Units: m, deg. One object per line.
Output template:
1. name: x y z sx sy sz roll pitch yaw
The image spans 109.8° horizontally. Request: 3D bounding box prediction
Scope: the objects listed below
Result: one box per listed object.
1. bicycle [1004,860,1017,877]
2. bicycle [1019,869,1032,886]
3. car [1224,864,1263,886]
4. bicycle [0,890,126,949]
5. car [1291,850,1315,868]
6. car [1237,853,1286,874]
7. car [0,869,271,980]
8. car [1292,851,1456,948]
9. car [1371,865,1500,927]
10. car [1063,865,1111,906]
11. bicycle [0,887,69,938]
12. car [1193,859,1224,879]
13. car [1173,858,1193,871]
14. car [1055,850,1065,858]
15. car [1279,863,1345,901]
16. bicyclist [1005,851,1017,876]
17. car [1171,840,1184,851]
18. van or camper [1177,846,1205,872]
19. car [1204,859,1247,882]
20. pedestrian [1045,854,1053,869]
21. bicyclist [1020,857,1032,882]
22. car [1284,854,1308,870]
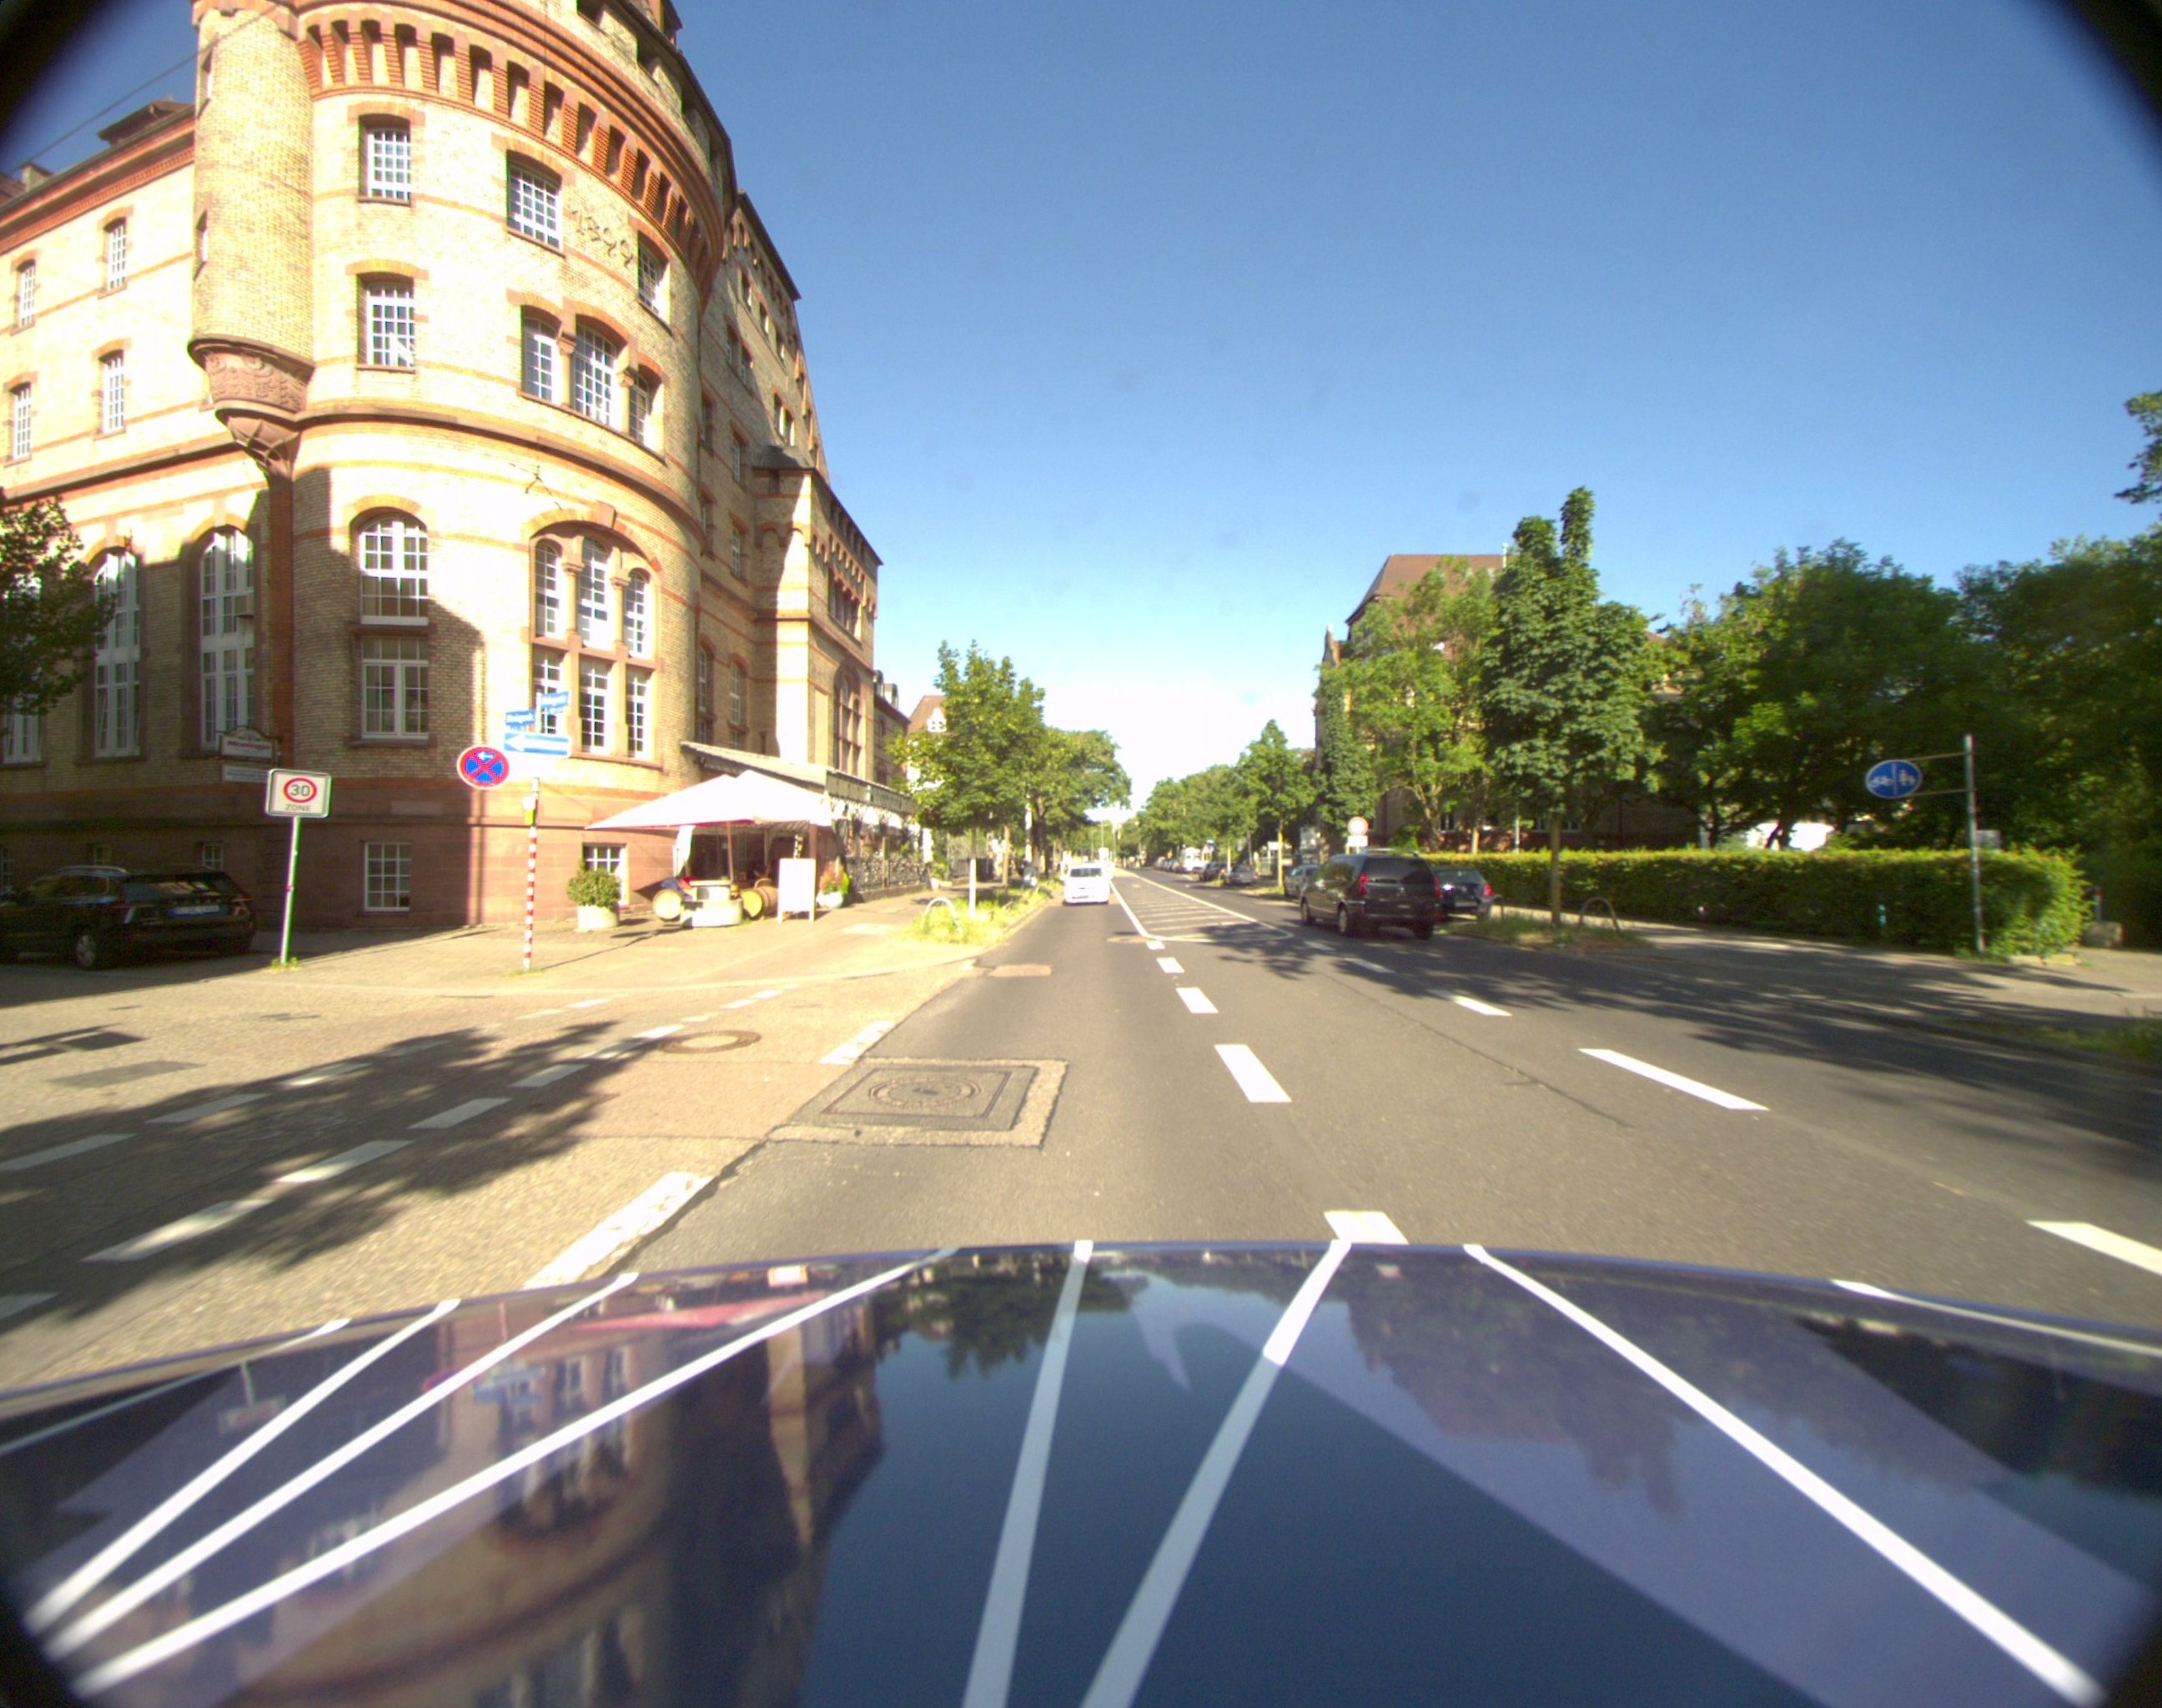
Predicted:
1. bicycle: -4.922 1.021 53.070 0.654 1.169 1.843 3 0 2
2. bicycle: -3.578 1.506 49.479 0.687 1.021 2.095 0 1 0
3. car: 10.153 1.307 47.688 1.682 1.248 4.015 -1 0 2
4. bicycle: -21.200 1.314 14.947 1.057 1.021 2.774 -2 1 16
5. car: 25.183 0.574 85.930 1.860 1.903 4.459 2 2 26
6. car: 16.774 0.901 70.735 4.150 1.660 1.996 -3 -1 -32
7. car: -16.030 1.075 12.696 3.948 1.515 1.797 0 3 17
8. car: 6.300 0.888 16.979 1.860 1.814 4.610 2 0 0
9. car: 9.417 1.064 20.550 1.716 1.450 4.073 -1 0 3
10. car: 0.285 1.148 29.254 1.652 1.449 3.898 0 0 4
11. bicycle: -23.229 1.276 15.555 1.057 1.021 2.774 -2 1 16
12. car: 10.306 1.220 61.729 1.860 1.419 4.720 -4 0 2
13. car: 11.757 1.170 87.880 1.698 1.448 4.663 2 0 0
14. car: -4.186 -0.074 151.342 1.847 1.432 4.105 3 -1 -3
15. car: 9.611 1.125 31.912 1.692 1.375 4.192 -2 0 4
16. bicyclist: -4.905 0.682 53.050 0.647 1.685 0.889 3 0 2
17. car: 13.617 -1.219 107.327 1.467 1.493 3.959 1 0 1
18. van or camper: 11.871 0.522 82.214 2.222 2.723 6.089 0 0 1
19. car: 10.449 1.163 55.151 1.861 1.485 4.704 -3 0 -4
20. pedestrian: -3.893 0.962 92.253 0.749 1.777 0.811 3 0 1
21. bicyclist: -3.587 0.991 49.410 0.702 1.590 0.955 0 1 0
22. car: 23.071 0.835 81.305 1.860 1.504 3.535 2 1 26
